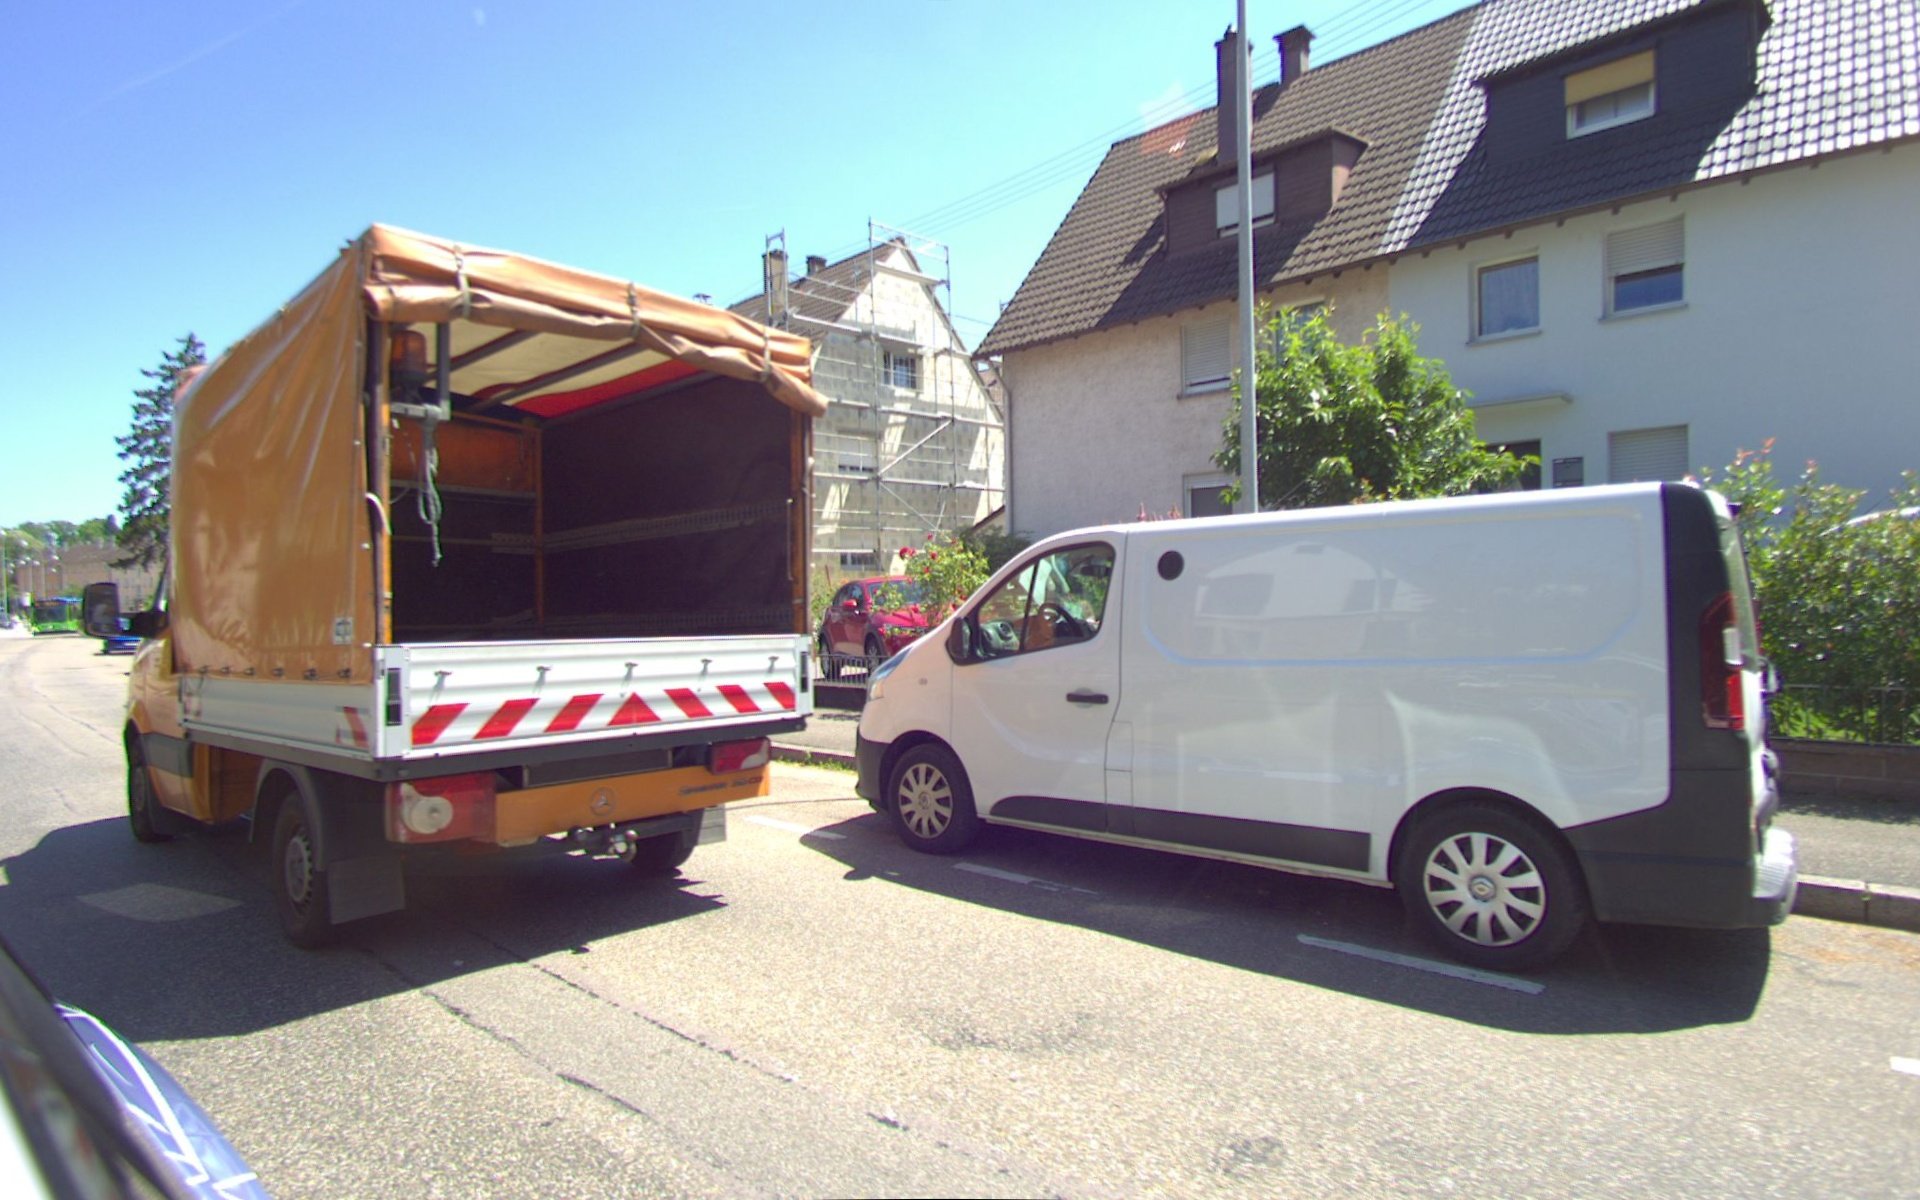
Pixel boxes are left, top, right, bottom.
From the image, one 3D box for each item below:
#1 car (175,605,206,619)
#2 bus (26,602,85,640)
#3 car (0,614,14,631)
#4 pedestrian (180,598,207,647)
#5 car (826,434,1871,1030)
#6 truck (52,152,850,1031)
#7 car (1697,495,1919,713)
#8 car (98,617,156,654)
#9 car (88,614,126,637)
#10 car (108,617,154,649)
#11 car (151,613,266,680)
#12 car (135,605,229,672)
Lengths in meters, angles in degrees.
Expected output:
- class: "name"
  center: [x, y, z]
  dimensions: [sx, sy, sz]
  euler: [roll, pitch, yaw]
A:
- class: "car"
  center: [-85.150, 1.381, 112.010]
  dimensions: [1.716, 1.516, 4.156]
  euler: [1, -1, -22]
- class: "bus"
  center: [-79.817, 1.794, 89.504]
  dimensions: [2.866, 3.103, 12.589]
  euler: [-1, 0, -37]
- class: "car"
  center: [-92.759, 2.156, 97.719]
  dimensions: [1.735, 1.525, 3.749]
  euler: [3, -2, -38]
- class: "pedestrian"
  center: [-31.219, 0.898, 41.225]
  dimensions: [0.681, 1.903, 1.021]
  euler: [-7, 4, -37]
- class: "car"
  center: [1.619, 0.460, 5.580]
  dimensions: [4.978, 1.895, 1.866]
  euler: [-1, -1, 41]
- class: "truck"
  center: [-3.438, 0.009, 6.051]
  dimensions: [5.656, 2.851, 2.348]
  euler: [-1, -1, 42]
- class: "car"
  center: [9.172, -0.006, 8.936]
  dimensions: [1.693, 1.884, 4.006]
  euler: [-4, 2, -40]
- class: "car"
  center: [-34.690, 1.446, 42.113]
  dimensions: [1.747, 1.450, 4.369]
  euler: [1, -2, -40]
- class: "car"
  center: [-57.063, 1.678, 67.711]
  dimensions: [1.709, 1.427, 4.009]
  euler: [0, -1, -37]
- class: "car"
  center: [-38.807, 1.511, 47.344]
  dimensions: [1.559, 1.434, 3.946]
  euler: [1, -2, -41]
- class: "car"
  center: [-18.352, 1.084, 24.650]
  dimensions: [1.740, 1.489, 4.061]
  euler: [2, -2, -44]
- class: "car"
  center: [-21.816, 1.057, 28.340]
  dimensions: [1.702, 1.749, 3.891]
  euler: [2, -2, -43]
